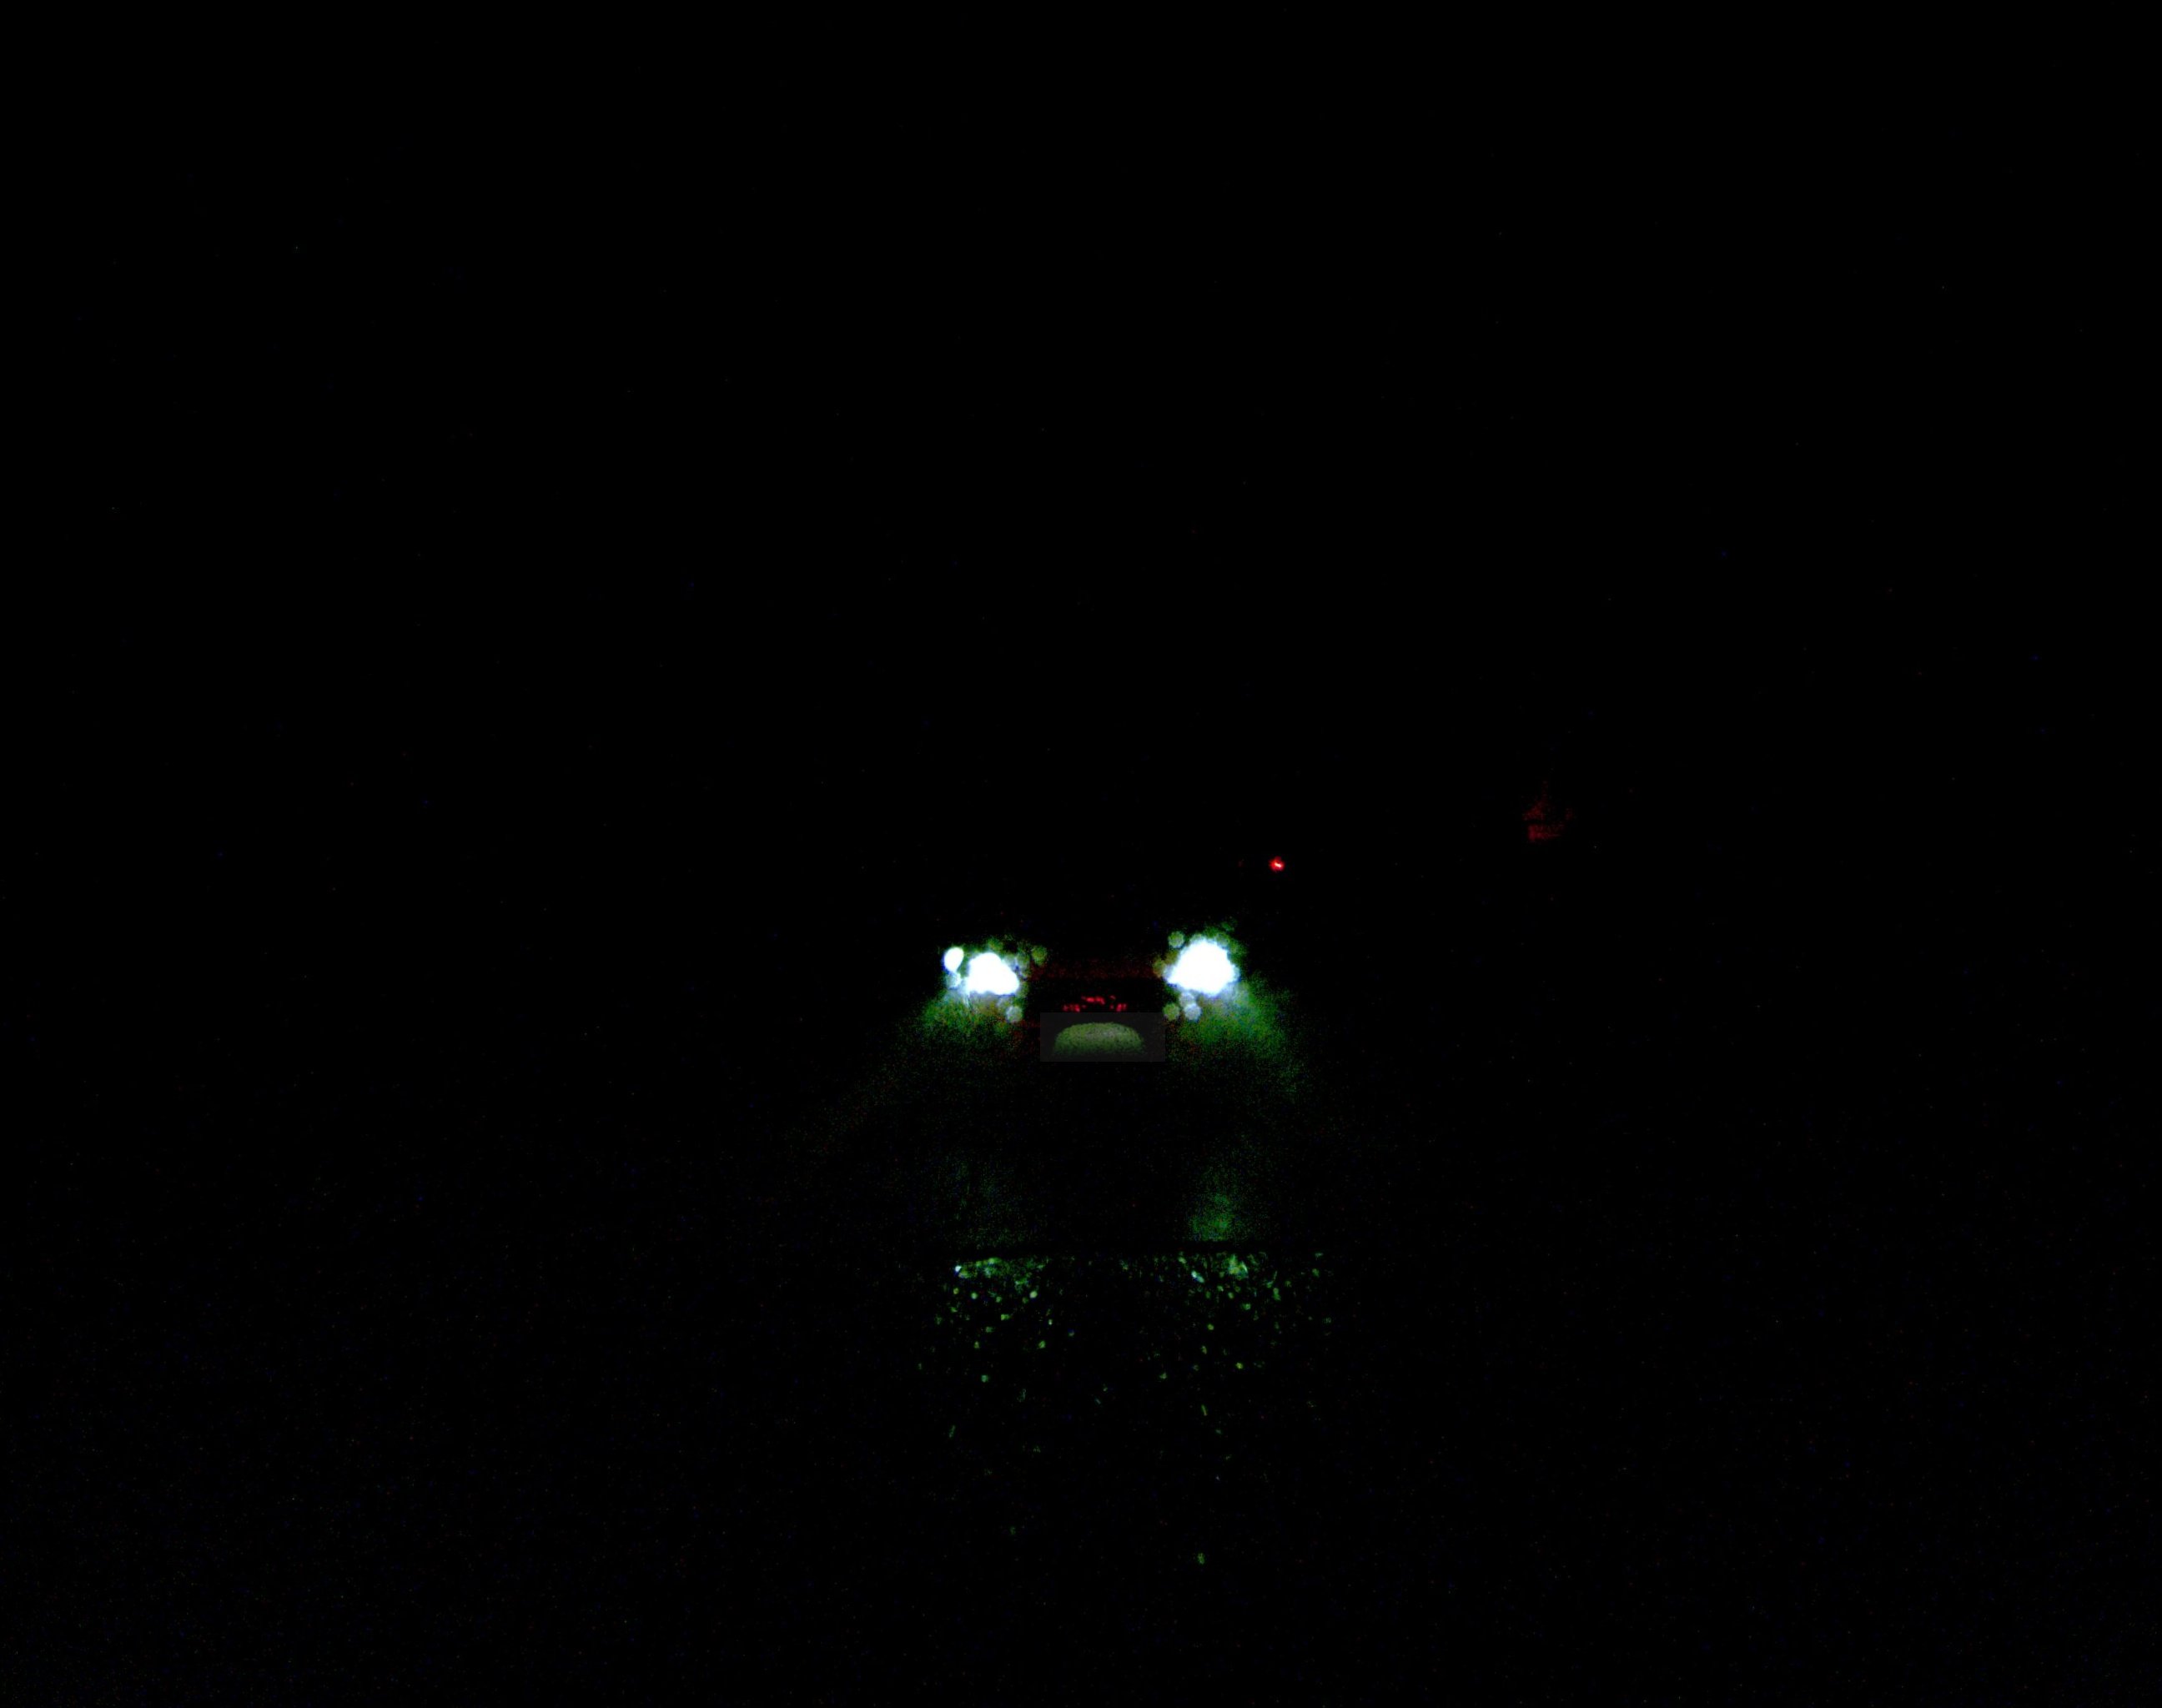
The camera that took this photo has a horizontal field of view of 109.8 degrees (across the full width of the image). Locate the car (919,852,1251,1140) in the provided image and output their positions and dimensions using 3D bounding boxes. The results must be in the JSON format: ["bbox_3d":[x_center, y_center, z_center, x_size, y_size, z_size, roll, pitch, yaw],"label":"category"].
[{"bbox_3d":[0.114,0.820,6.352,1.845,1.565,4.000,-2,1,3],"label":"car"}]
